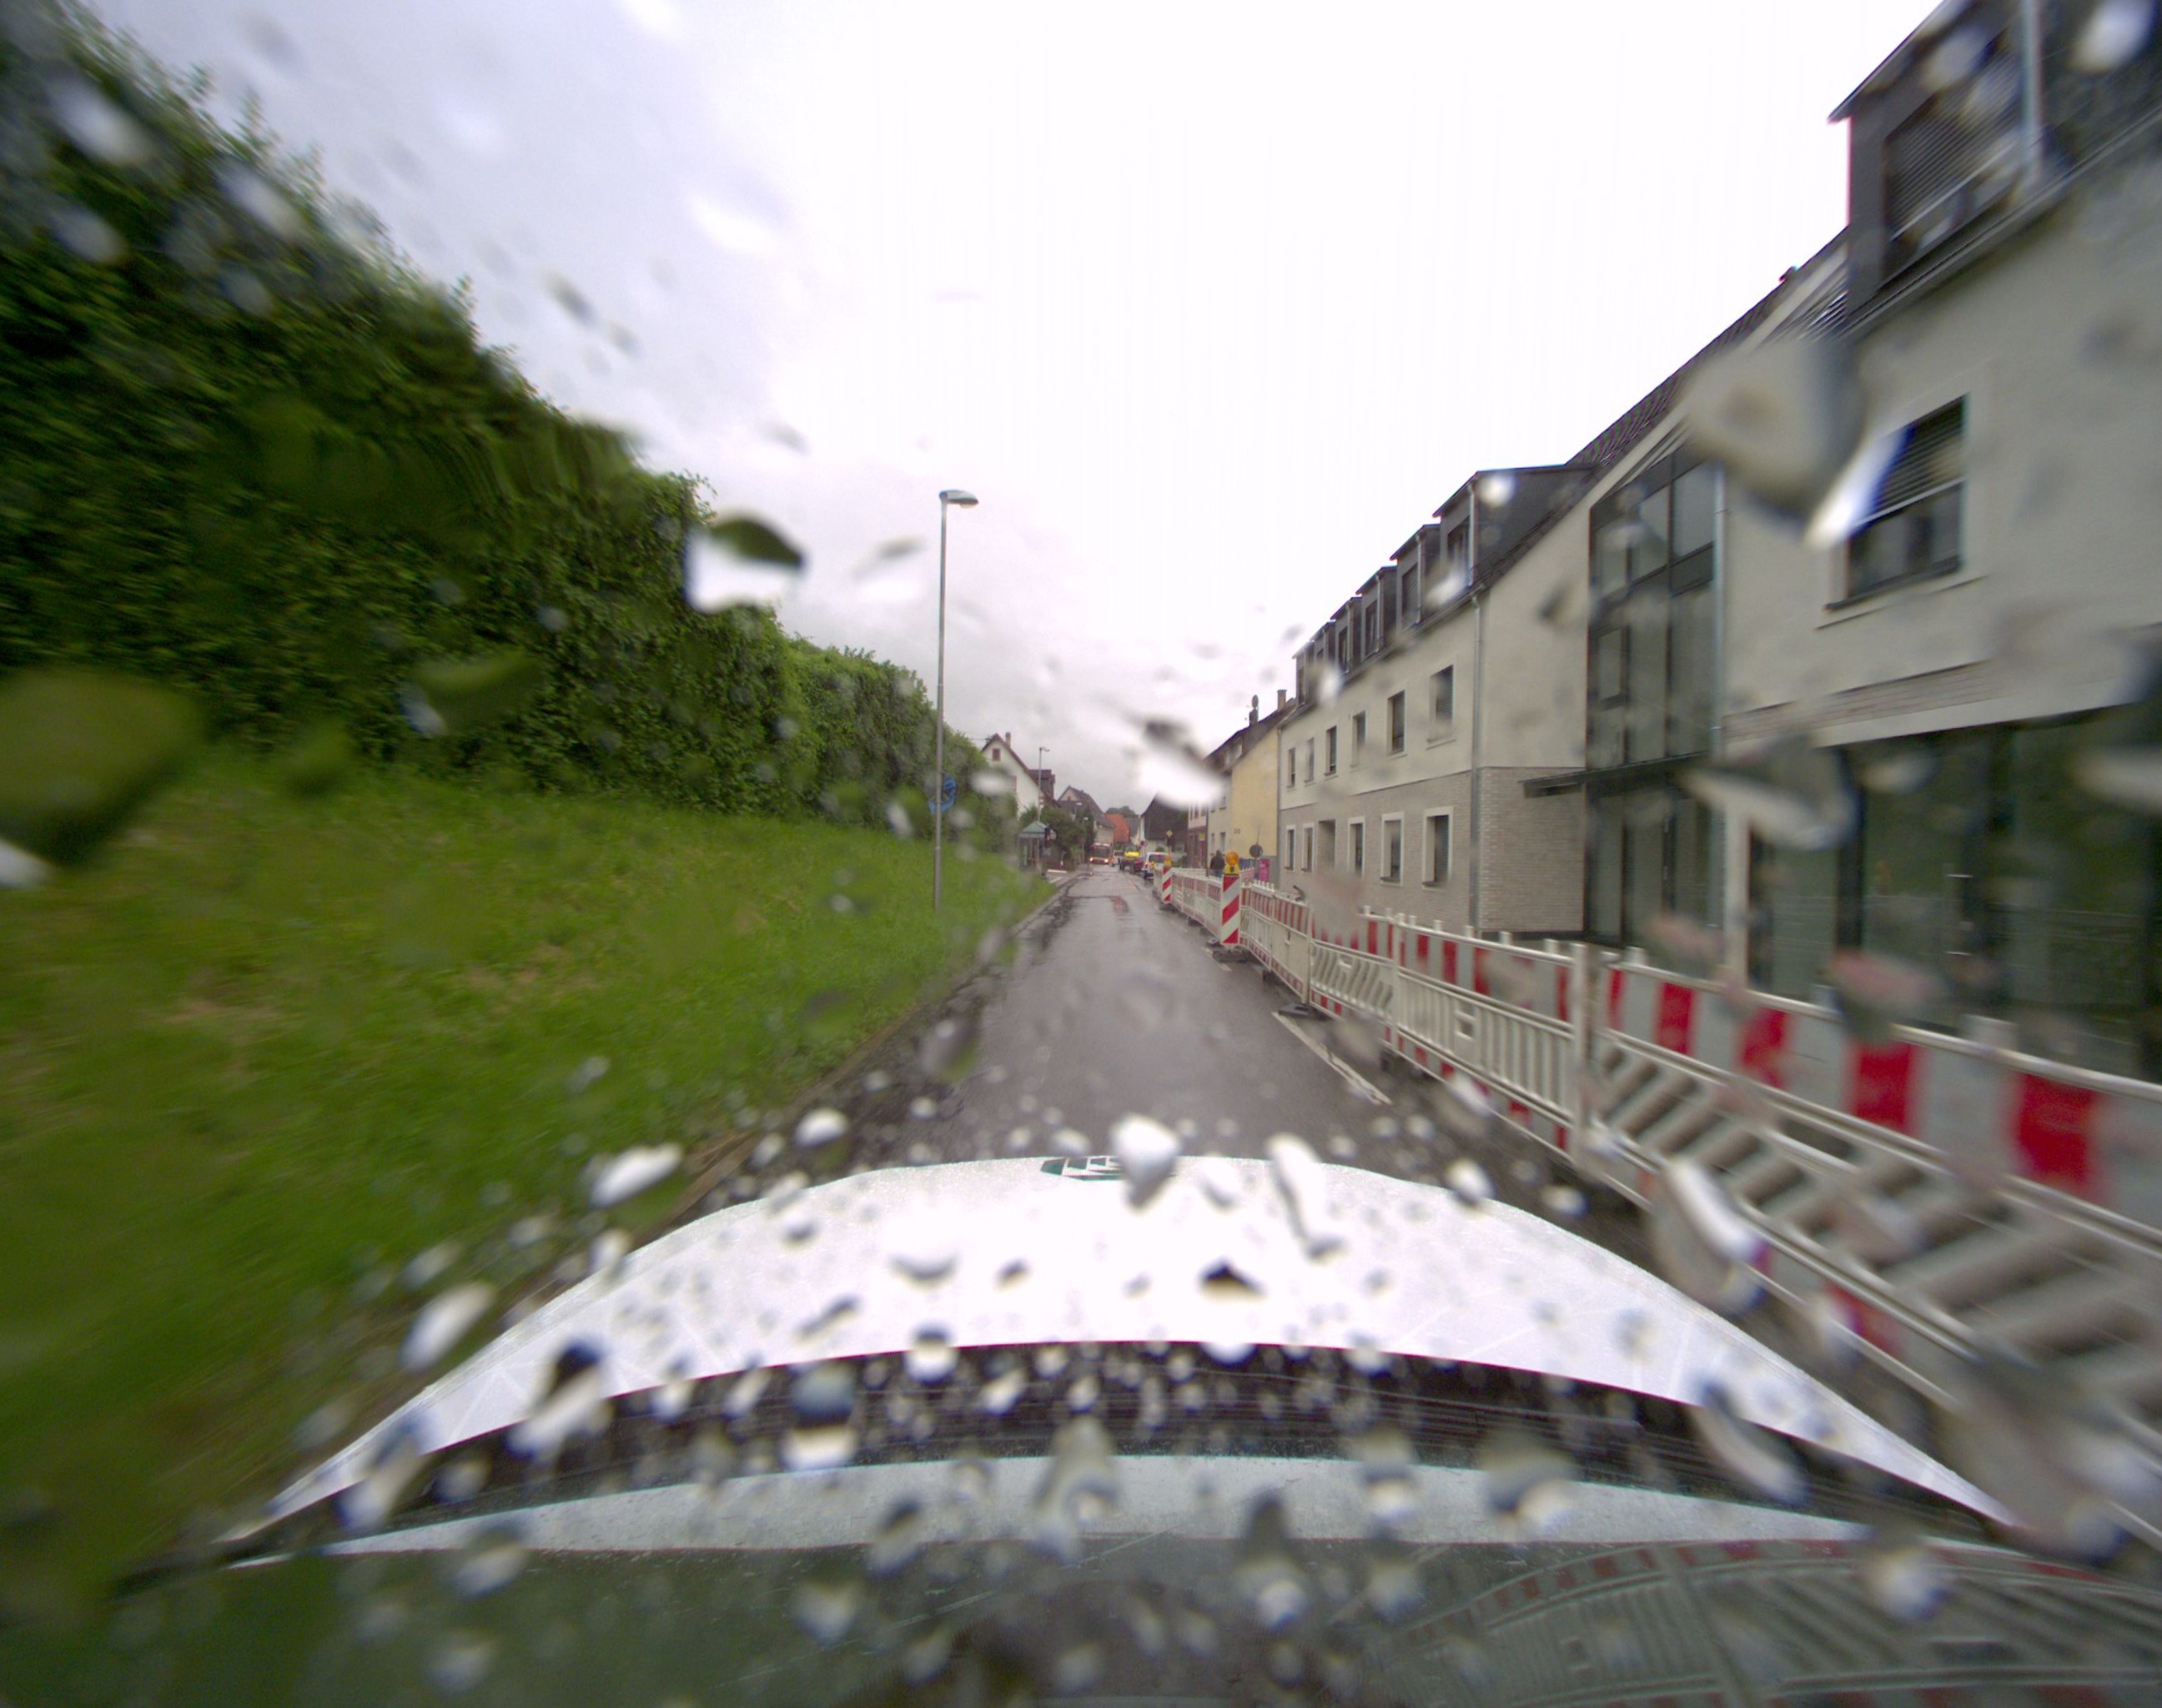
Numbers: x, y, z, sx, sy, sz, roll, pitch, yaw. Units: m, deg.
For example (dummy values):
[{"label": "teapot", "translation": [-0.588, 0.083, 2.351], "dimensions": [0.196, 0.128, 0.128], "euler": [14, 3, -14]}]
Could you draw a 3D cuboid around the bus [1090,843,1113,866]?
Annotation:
[{"label": "bus", "translation": [3.137, -0.037, 121.487], "dimensions": [2.637, 2.999, 12.212], "euler": [2, 2, 5]}]

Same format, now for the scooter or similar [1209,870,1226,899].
[{"label": "scooter or similar", "translation": [5.685, 1.252, 33.934], "dimensions": [0.616, 1.127, 1.406], "euler": [1, 0, 11]}]

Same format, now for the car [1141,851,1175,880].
[{"label": "car", "translation": [5.108, 0.745, 54.647], "dimensions": [1.888, 1.793, 3.814], "euler": [3, 0, 1]}]

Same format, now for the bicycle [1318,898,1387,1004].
[{"label": "bicycle", "translation": [2.943, 1.021, 8.907], "dimensions": [0.404, 1.029, 1.222], "euler": [0, -1, 3]}]

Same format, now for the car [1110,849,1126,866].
[{"label": "car", "translation": [4.690, 0.467, 101.737], "dimensions": [1.718, 2.007, 3.980], "euler": [3, 0, 5]}]

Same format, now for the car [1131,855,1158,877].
[{"label": "car", "translation": [5.165, 0.974, 66.351], "dimensions": [1.804, 1.596, 3.755], "euler": [3, 0, -1]}]

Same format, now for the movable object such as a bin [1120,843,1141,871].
[{"label": "movable object such as a bin", "translation": [4.814, 0.280, 80.137], "dimensions": [1.721, 2.653, 3.974], "euler": [2, 0, 0]}]

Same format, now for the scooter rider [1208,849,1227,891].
[{"label": "scooter rider", "translation": [5.719, 0.665, 34.100], "dimensions": [0.726, 1.733, 0.519], "euler": [1, -1, 10]}]

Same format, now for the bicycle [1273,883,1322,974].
[{"label": "bicycle", "translation": [2.945, 0.982, 11.144], "dimensions": [0.404, 1.143, 1.222], "euler": [0, -1, 3]}]
